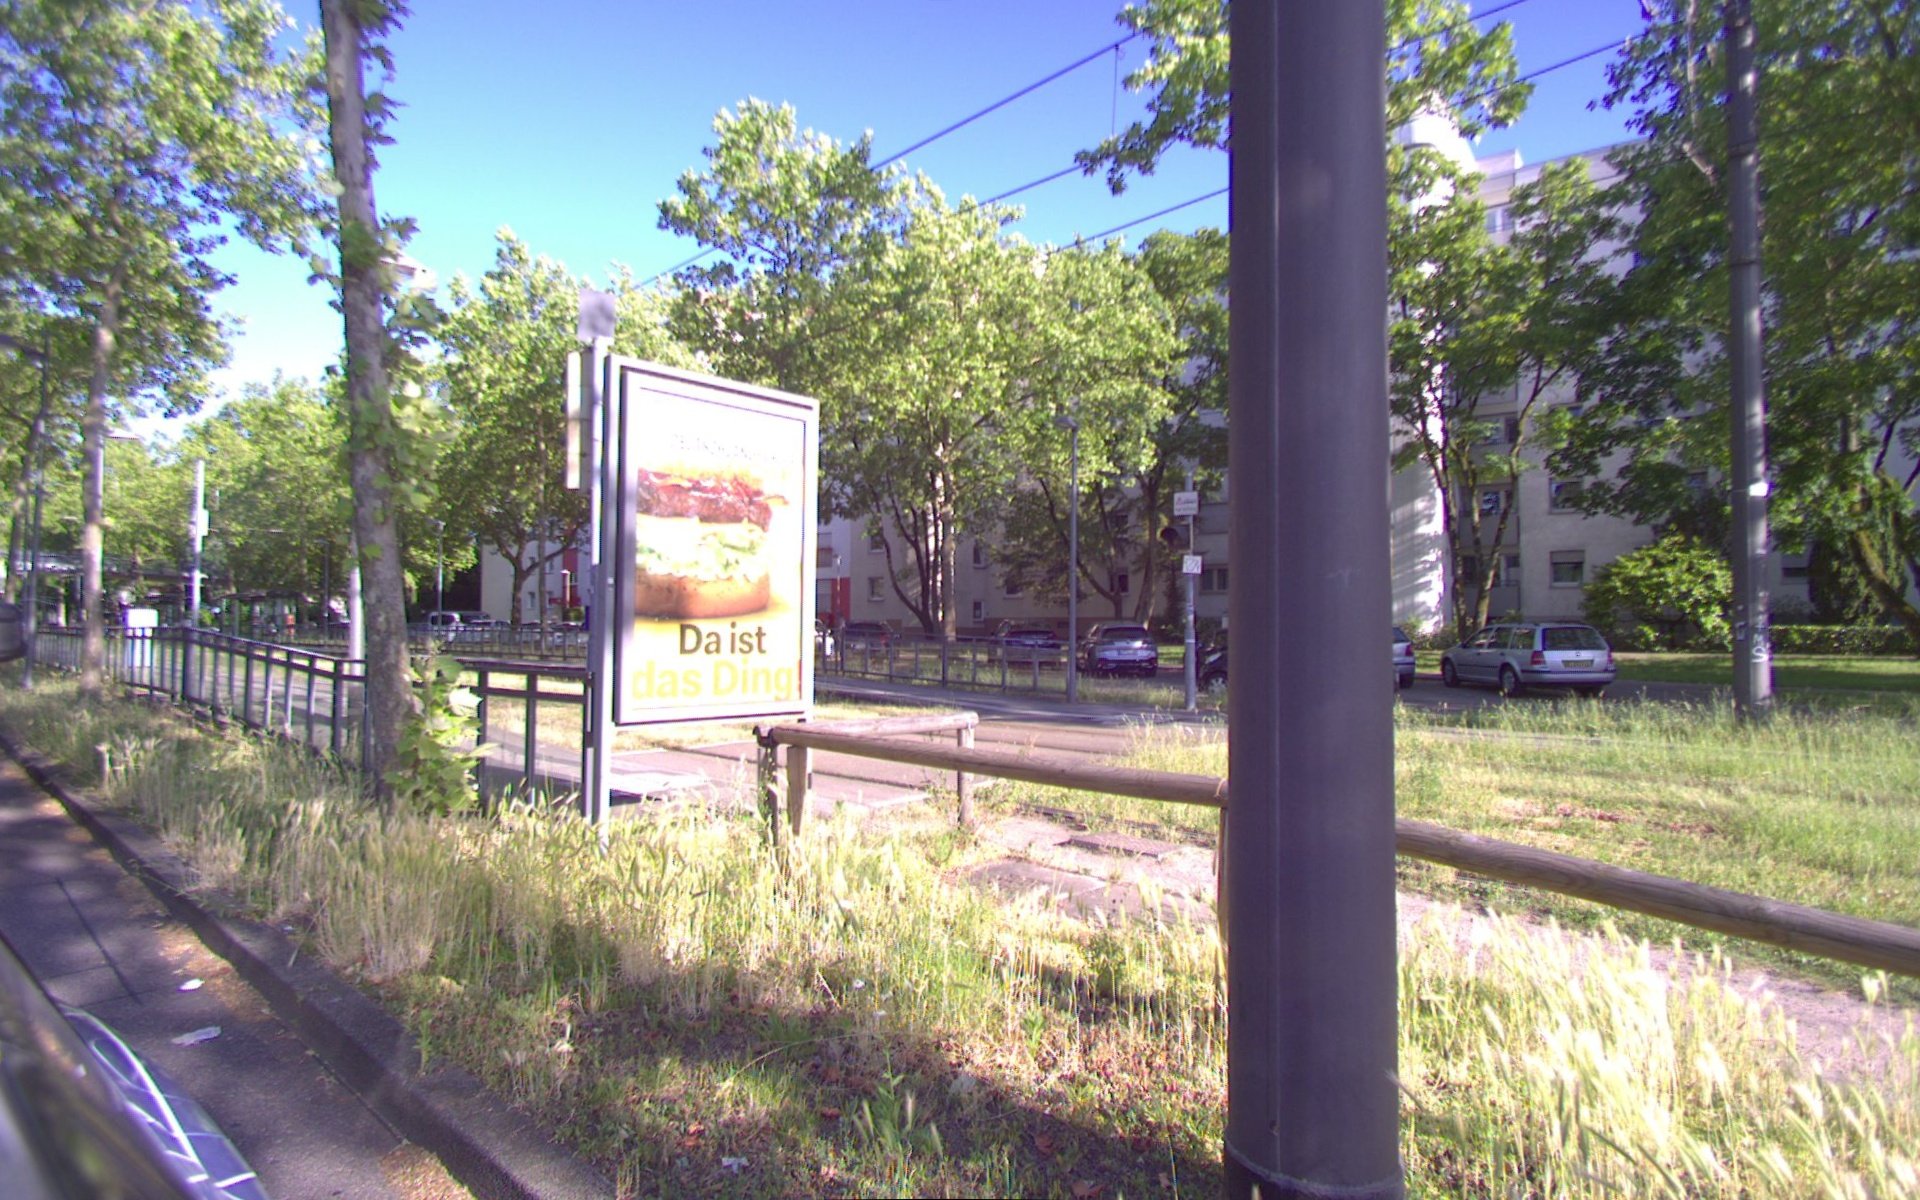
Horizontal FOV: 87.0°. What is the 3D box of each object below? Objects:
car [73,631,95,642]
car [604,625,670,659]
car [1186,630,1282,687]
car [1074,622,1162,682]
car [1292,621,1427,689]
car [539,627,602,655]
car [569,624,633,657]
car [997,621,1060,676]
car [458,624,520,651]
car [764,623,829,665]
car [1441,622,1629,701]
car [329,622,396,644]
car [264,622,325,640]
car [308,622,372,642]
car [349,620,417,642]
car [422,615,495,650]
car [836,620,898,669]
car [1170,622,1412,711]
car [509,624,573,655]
[{"bbox_3d":[-108.987,4.539,125.955,3.294,1.370,1.651,-1,-2,41],"label":"car"},{"bbox_3d":[-14.081,1.825,44.277,1.627,1.403,3.679,0,-1,2],"label":"car"},{"bbox_3d":[6.730,1.405,25.203,1.602,1.256,3.677,0,-1,4],"label":"car"},{"bbox_3d":[4.207,1.351,27.489,1.894,1.507,3.680,0,-1,2],"label":"car"},{"bbox_3d":[9.154,1.224,23.523,1.679,1.444,3.681,0,-1,1],"label":"car"},{"bbox_3d":[-19.044,1.986,49.663,1.627,1.251,3.680,0,-1,1],"label":"car"},{"bbox_3d":[-16.680,1.848,47.133,1.627,1.460,3.680,0,-1,1],"label":"car"},{"bbox_3d":[1.935,1.372,29.442,1.664,1.482,3.680,0,-1,1],"label":"car"},{"bbox_3d":[-25.796,2.041,55.516,1.627,1.407,3.680,0,-1,1],"label":"car"},{"bbox_3d":[-5.908,1.576,36.915,1.664,1.444,3.679,0,-1,2],"label":"car"},{"bbox_3d":[11.548,1.181,20.624,1.707,1.444,3.681,0,-1,1],"label":"car"},{"bbox_3d":[-40.280,2.210,68.390,1.898,1.386,4.365,0,-1,1],"label":"car"},{"bbox_3d":[-52.143,2.411,79.363,1.898,1.386,4.365,0,-1,1],"label":"car"},{"bbox_3d":[-44.642,2.288,72.983,1.898,1.386,4.365,0,-1,1],"label":"car"},{"bbox_3d":[-37.927,2.044,66.632,1.898,1.386,4.365,0,-1,1],"label":"car"},{"bbox_3d":[-28.325,1.832,57.325,1.898,1.898,4.365,0,-1,1],"label":"car"},{"bbox_3d":[-3.106,1.463,34.465,1.664,1.579,3.679,0,-1,2],"label":"car"},{"bbox_3d":[5.896,1.123,18.206,3.754,1.431,1.803,-1,-2,39],"label":"car"},{"bbox_3d":[-21.122,1.965,51.131,1.627,1.460,3.680,0,-1,1],"label":"car"}]
